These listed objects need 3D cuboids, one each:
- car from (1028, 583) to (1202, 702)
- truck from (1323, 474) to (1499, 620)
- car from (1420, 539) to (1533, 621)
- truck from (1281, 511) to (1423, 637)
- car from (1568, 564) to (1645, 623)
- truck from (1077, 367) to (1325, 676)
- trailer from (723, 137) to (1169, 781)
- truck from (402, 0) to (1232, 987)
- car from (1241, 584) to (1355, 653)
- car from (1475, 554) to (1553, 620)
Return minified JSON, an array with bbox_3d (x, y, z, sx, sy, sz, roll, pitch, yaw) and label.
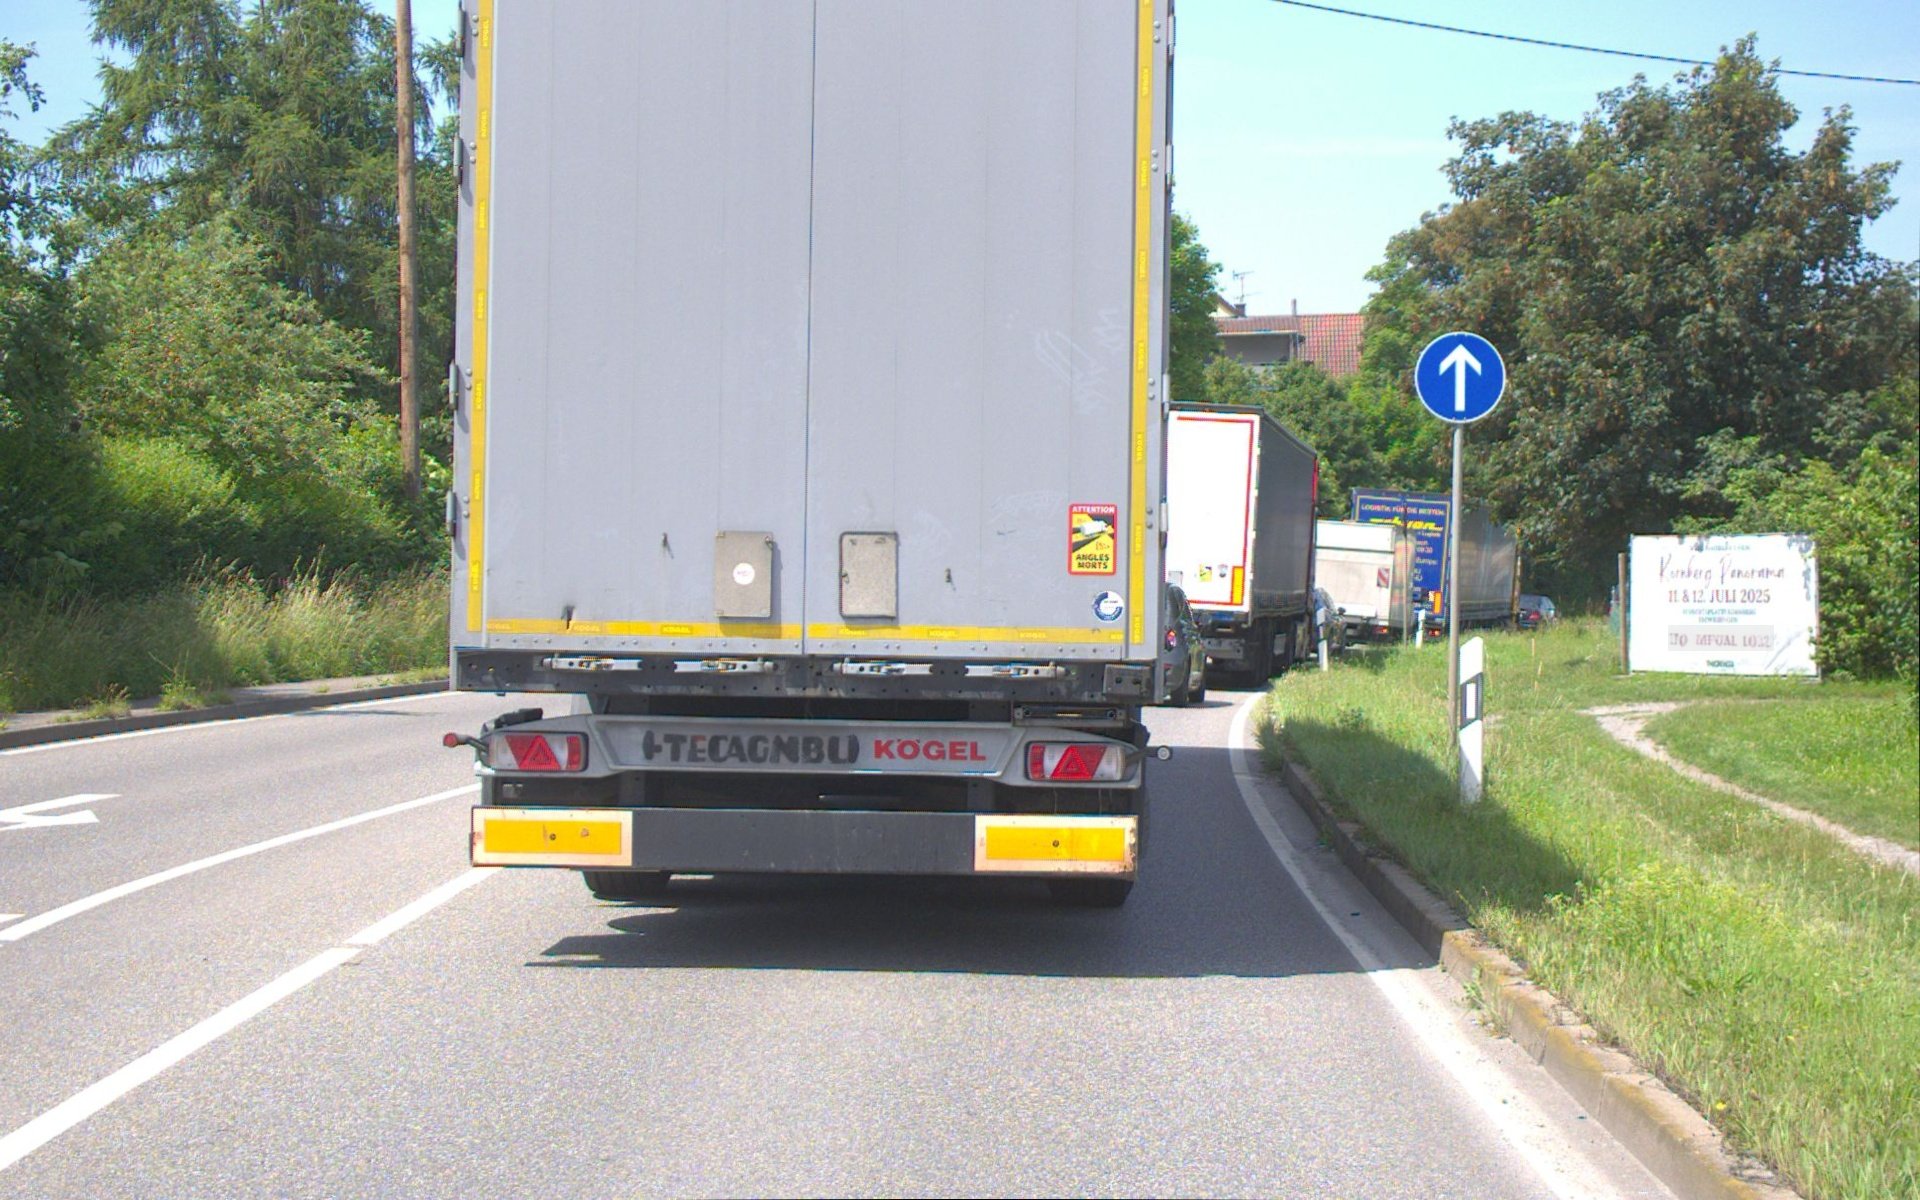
[{"bbox_3d":[1.922,0.486,41.563,1.819,1.342,3.846,1,0,7],"label":"car"},{"bbox_3d":[11.928,-1.428,90.170,3.435,3.592,9.348,1,1,14],"label":"truck"},{"bbox_3d":[15.099,-0.605,100.154,2.533,2.269,6.377,1,1,15],"label":"car"},{"bbox_3d":[9.209,-0.592,80.349,2.545,2.793,6.028,1,0,13],"label":"truck"},{"bbox_3d":[22.432,-0.217,119.249,1.995,2.007,3.996,1,0,20],"label":"car"},{"bbox_3d":[4.214,-1.101,56.028,2.761,4.274,16.409,1,0,8],"label":"truck"},{"bbox_3d":[0.021,-0.966,25.267,2.825,4.097,6.544,0,1,2],"label":"trailer"},{"bbox_3d":[-0.273,-0.856,17.582,2.822,4.113,11.443,1,1,2],"label":"truck"},{"bbox_3d":[7.118,0.382,72.141,1.994,1.371,3.998,1,0,11],"label":"car"},{"bbox_3d":[17.403,-0.399,107.890,1.995,2.007,3.997,1,0,15],"label":"car"}]
